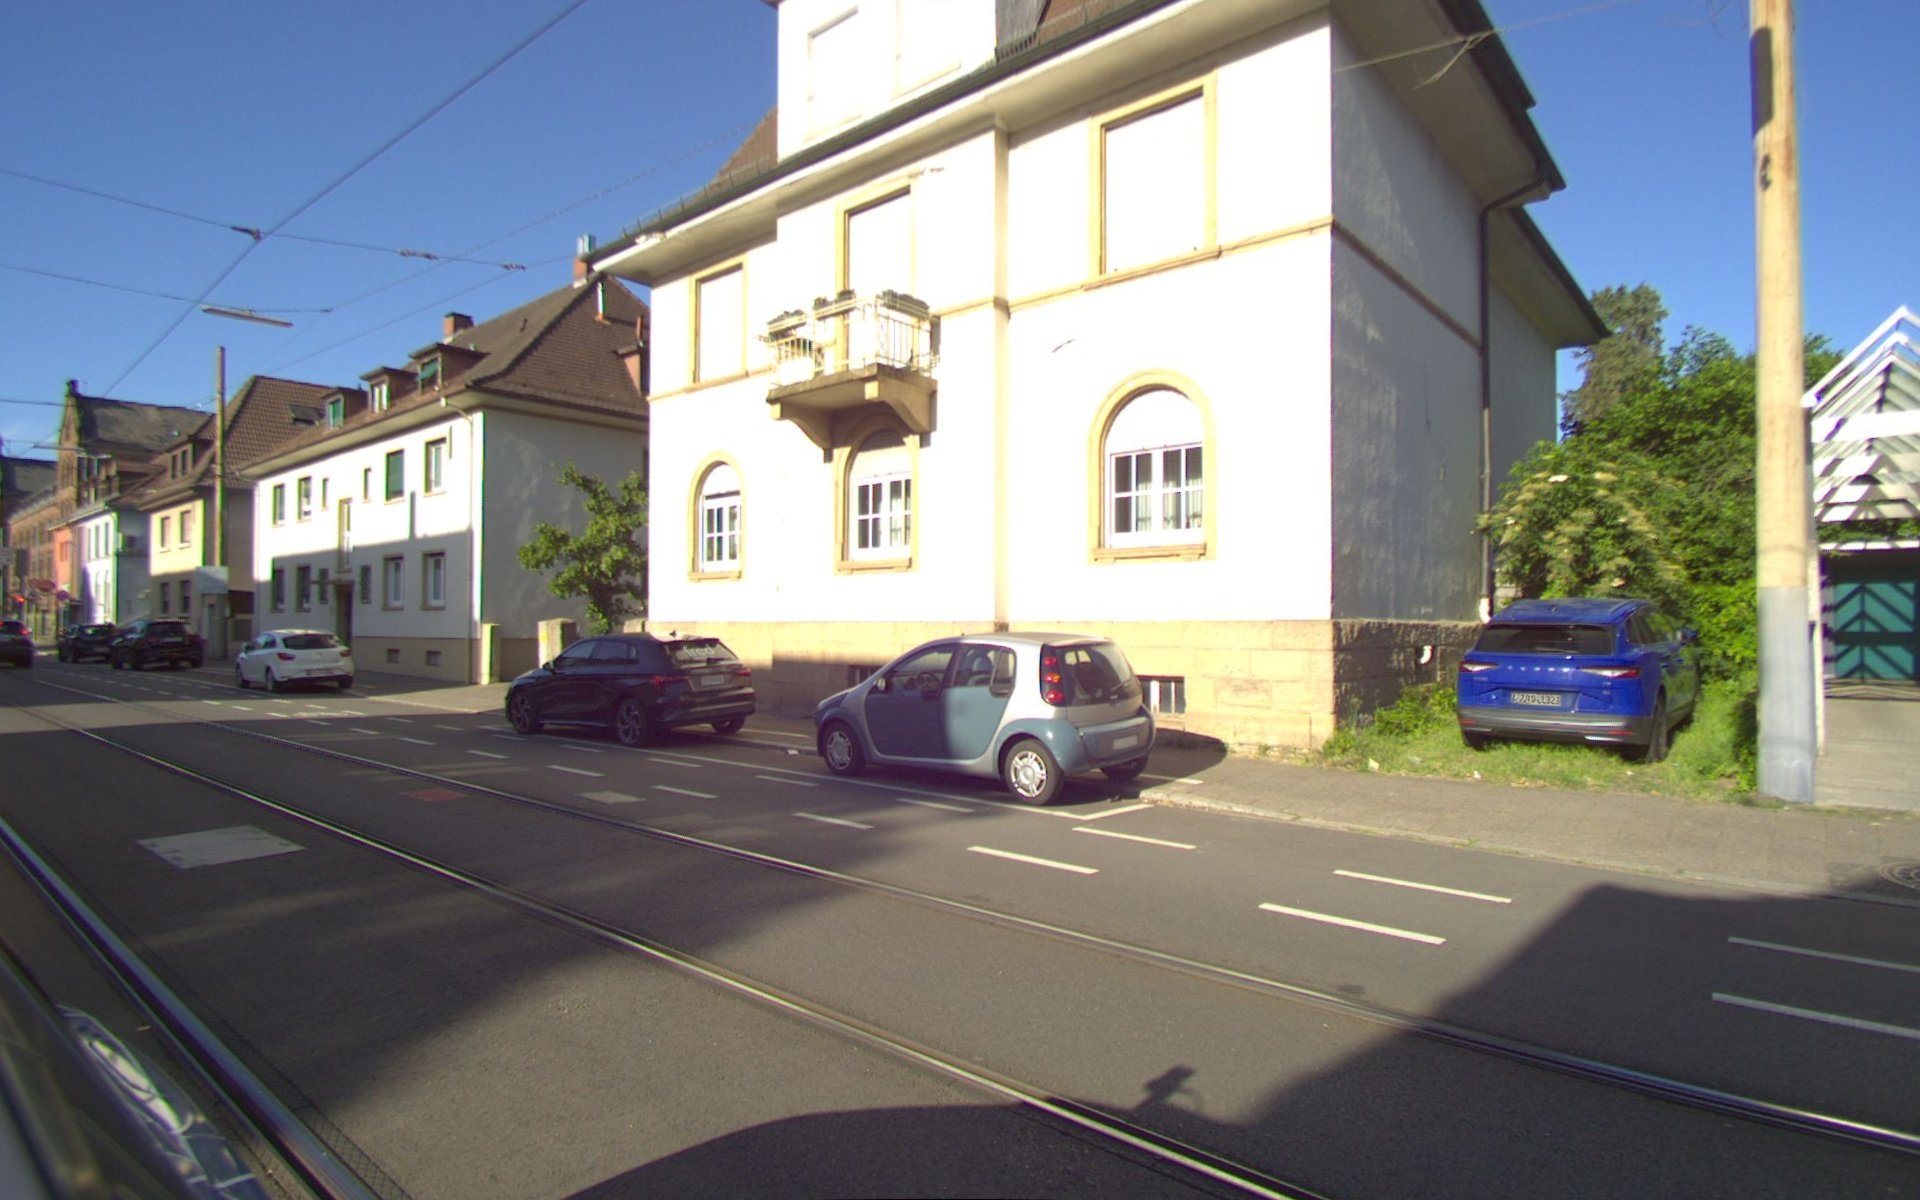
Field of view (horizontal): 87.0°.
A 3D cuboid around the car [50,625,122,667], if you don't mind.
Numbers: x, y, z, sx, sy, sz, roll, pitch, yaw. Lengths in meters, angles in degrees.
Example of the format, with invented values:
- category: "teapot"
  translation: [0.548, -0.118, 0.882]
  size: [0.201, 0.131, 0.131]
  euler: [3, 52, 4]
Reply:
- category: "car"
  translation: [-36.042, 1.864, 41.711]
  size: [3.918, 1.640, 1.599]
  euler: [-1, -3, 40]

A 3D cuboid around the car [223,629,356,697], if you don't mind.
- category: "car"
  translation: [-16.040, 1.457, 24.138]
  size: [4.013, 1.468, 1.614]
  euler: [-1, -3, 41]

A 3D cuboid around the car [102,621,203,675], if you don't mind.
- category: "car"
  translation: [-27.240, 1.582, 34.092]
  size: [4.552, 1.718, 1.744]
  euler: [-1, -3, 40]

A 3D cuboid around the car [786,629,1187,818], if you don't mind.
- category: "car"
  translation: [0.140, 1.061, 10.144]
  size: [3.833, 1.488, 1.659]
  euler: [-2, -1, 41]

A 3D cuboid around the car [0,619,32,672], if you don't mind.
- category: "car"
  translation: [-32.857, 1.499, 34.207]
  size: [4.362, 1.718, 1.686]
  euler: [-1, -3, 41]

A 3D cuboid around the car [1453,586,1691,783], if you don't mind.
- category: "car"
  translation: [6.961, 0.838, 11.336]
  size: [1.753, 1.797, 3.886]
  euler: [-1, -2, 39]

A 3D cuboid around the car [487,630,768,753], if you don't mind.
- category: "car"
  translation: [-4.750, 1.170, 14.217]
  size: [4.243, 1.488, 1.647]
  euler: [-1, -2, 37]
